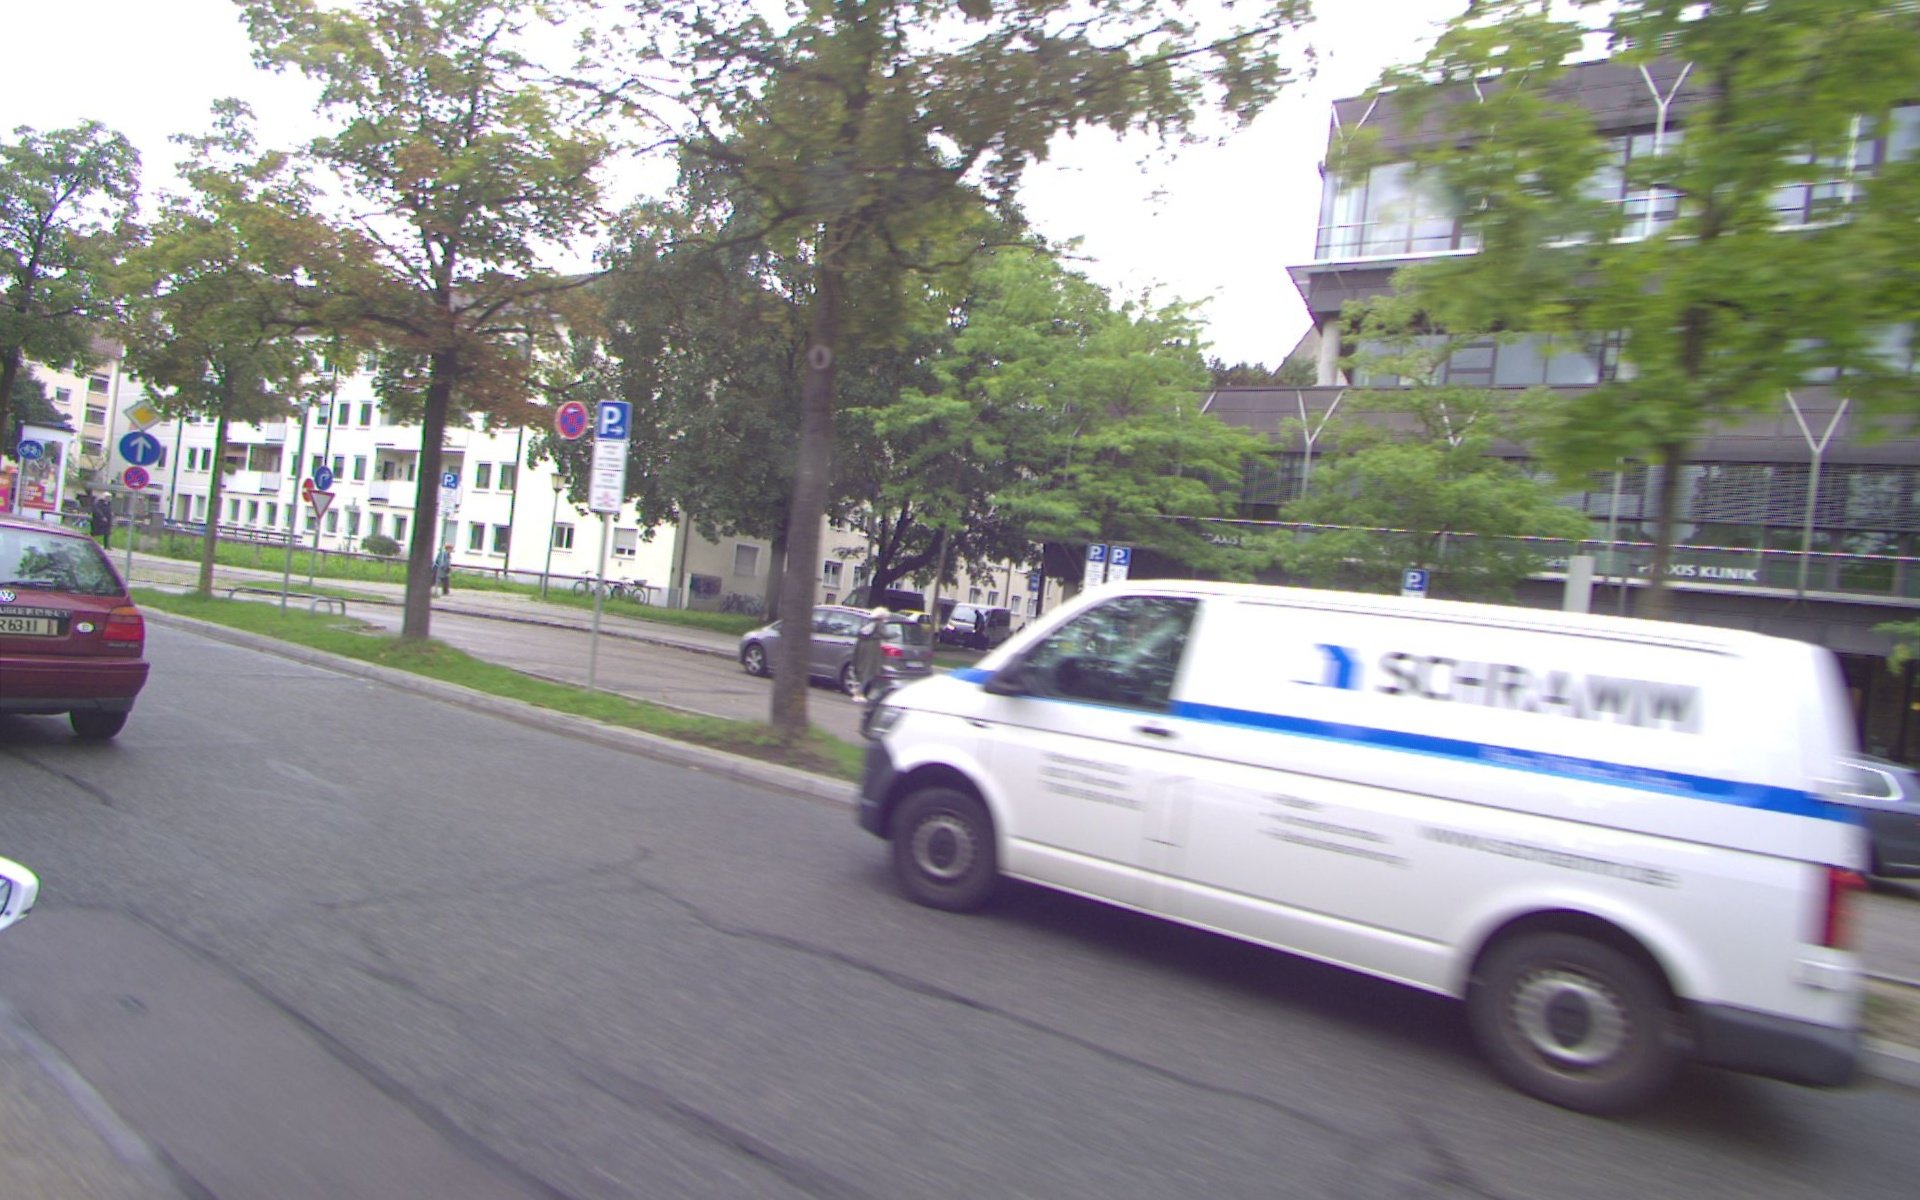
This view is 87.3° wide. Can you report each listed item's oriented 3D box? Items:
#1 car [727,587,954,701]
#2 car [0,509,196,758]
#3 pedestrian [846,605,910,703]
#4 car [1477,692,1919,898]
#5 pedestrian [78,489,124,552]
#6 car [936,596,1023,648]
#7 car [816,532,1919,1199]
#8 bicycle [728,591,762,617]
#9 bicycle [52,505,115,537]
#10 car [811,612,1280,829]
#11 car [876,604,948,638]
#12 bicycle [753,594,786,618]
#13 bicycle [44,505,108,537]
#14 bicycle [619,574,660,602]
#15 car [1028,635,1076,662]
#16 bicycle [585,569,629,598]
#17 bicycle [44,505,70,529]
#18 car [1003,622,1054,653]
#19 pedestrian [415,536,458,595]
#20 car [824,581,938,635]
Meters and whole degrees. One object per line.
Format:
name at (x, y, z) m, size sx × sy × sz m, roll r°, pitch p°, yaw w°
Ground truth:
car at (-2.392, 0.833, 19.766) m, size 4.130 × 1.654 × 1.823 m, roll 7°, pitch 0°, yaw 34°
car at (-7.049, 0.013, 6.708) m, size 3.853 × 1.399 × 1.686 m, roll 7°, pitch -2°, yaw 31°
pedestrian at (-1.462, 0.954, 17.845) m, size 0.654 × 1.614 × 0.746 m, roll 6°, pitch 1°, yaw -40°
car at (9.064, 2.233, 12.374) m, size 4.528 × 1.550 × 1.823 m, roll 7°, pitch 0°, yaw 34°
pedestrian at (-25.902, -2.385, 30.340) m, size 0.590 × 1.750 × 0.641 m, roll 7°, pitch -1°, yaw 1°
car at (1.042, 1.107, 48.116) m, size 2.301 × 2.078 × 6.112 m, roll 7°, pitch 0°, yaw 17°
car at (1.838, 0.924, 5.327) m, size 4.850 × 1.949 × 1.885 m, roll 7°, pitch -2°, yaw 31°
bicycle at (-9.655, 0.183, 45.200) m, size 0.447 × 0.983 × 1.695 m, roll 7°, pitch 0°, yaw 28°
bicycle at (-36.038, -3.234, 41.396) m, size 0.425 × 1.041 × 1.881 m, roll 7°, pitch 0°, yaw 26°
car at (0.811, 1.164, 10.792) m, size 4.613 × 1.448 × 1.731 m, roll 7°, pitch -2°, yaw 32°
car at (-2.213, 0.989, 47.059) m, size 1.558 × 1.216 × 3.744 m, roll 8°, pitch 0°, yaw 29°
bicycle at (-8.842, 0.291, 46.777) m, size 0.447 × 0.983 × 1.695 m, roll 7°, pitch 0°, yaw 28°
bicycle at (-35.806, -3.182, 40.752) m, size 0.425 × 1.041 × 1.882 m, roll 7°, pitch 0°, yaw 24°
bicycle at (-13.188, -0.475, 41.461) m, size 0.447 × 0.983 × 1.695 m, roll 7°, pitch 0°, yaw 28°
car at (5.110, 2.703, 55.624) m, size 1.556 × 1.216 × 3.749 m, roll 8°, pitch 0°, yaw 21°
bicycle at (-13.985, -0.632, 39.866) m, size 0.447 × 0.983 × 1.695 m, roll 7°, pitch 0°, yaw 28°
bicycle at (-45.120, -4.140, 50.268) m, size 1.853 × 1.041 × 0.431 m, roll 7°, pitch 1°, yaw 33°
car at (4.164, 2.274, 60.363) m, size 1.558 × 1.557 × 3.745 m, roll 8°, pitch 0°, yaw 27°
pedestrian at (-15.273, -0.986, 29.360) m, size 0.767 × 1.593 × 0.580 m, roll 7°, pitch -1°, yaw -1°
car at (-3.768, 0.444, 49.551) m, size 2.307 × 2.023 × 6.098 m, roll 7°, pitch 0°, yaw 32°
